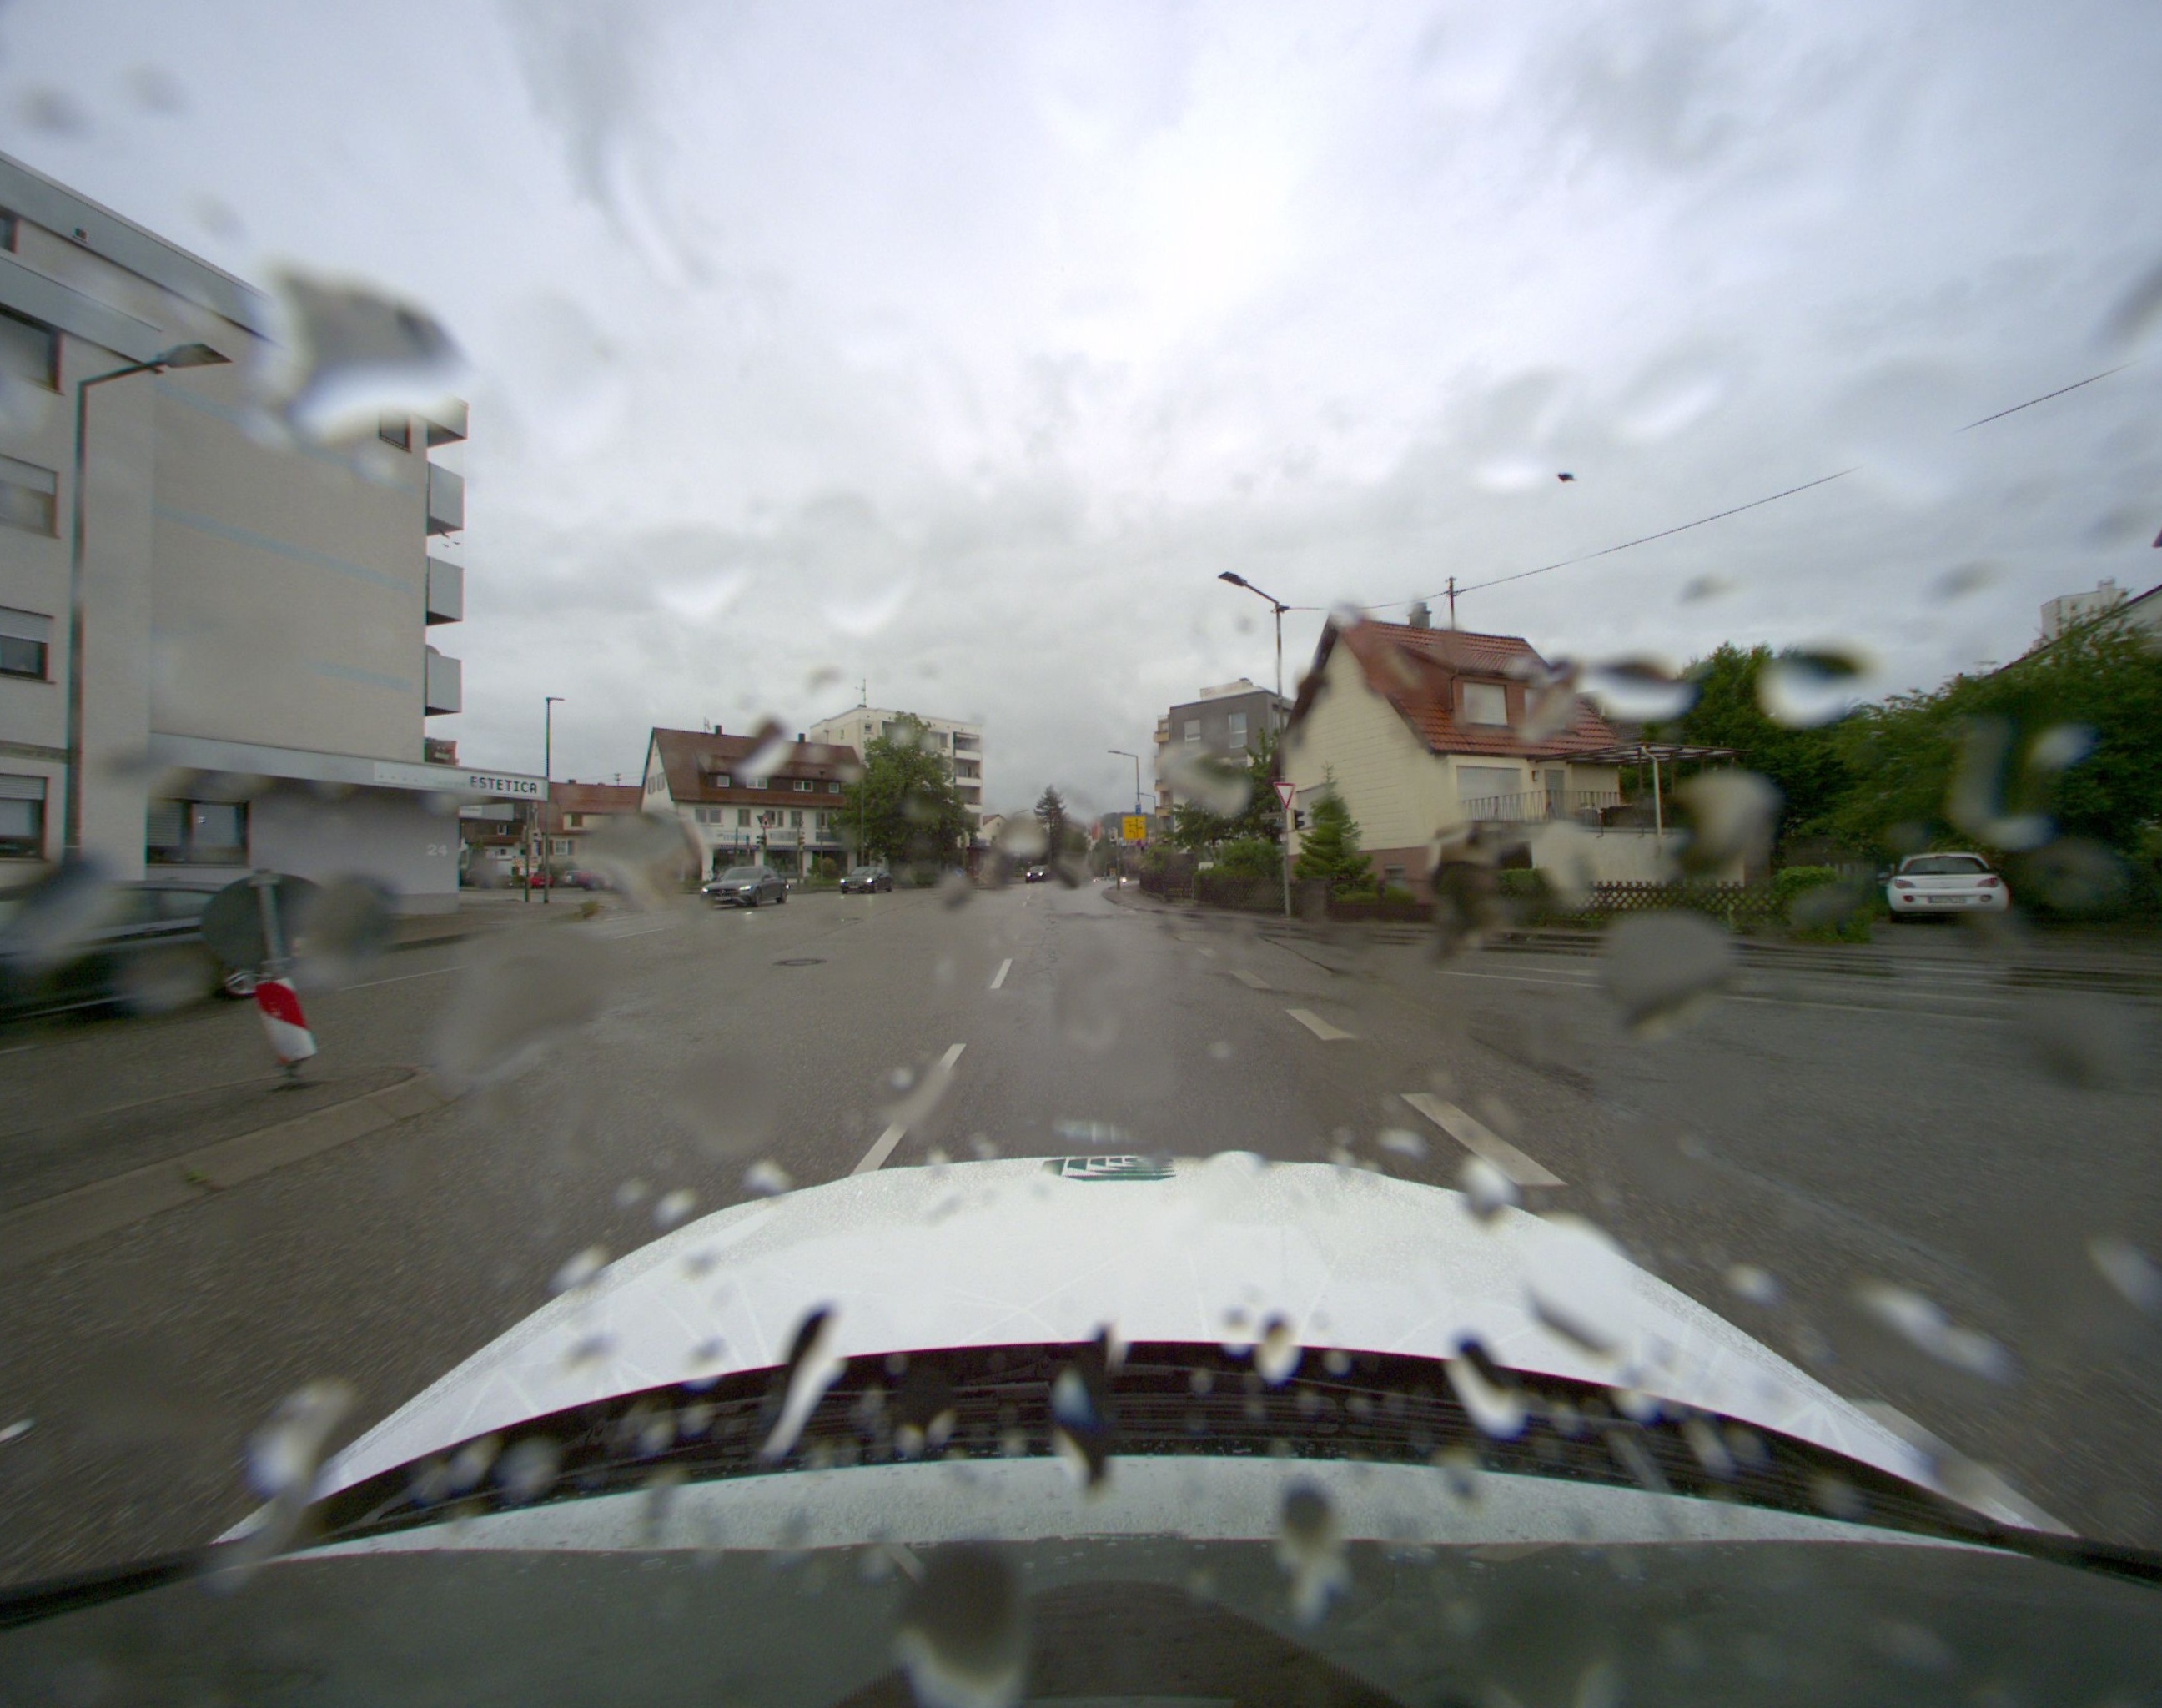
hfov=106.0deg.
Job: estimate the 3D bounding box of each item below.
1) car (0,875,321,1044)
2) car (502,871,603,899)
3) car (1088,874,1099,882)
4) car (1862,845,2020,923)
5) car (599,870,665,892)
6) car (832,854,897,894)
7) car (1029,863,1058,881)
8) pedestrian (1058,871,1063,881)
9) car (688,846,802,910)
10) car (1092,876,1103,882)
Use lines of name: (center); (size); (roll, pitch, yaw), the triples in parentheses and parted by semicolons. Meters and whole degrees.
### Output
car: (-10.563, 0.995, 8.218); (1.781, 1.472, 4.165); (-1, -1, 2)
car: (-38.234, 2.218, 59.007); (5.885, 1.842, 1.975); (0, -1, -44)
car: (2.702, 5.231, 176.706); (1.642, 1.521, 4.334); (-1, -2, 9)
car: (18.642, 0.597, 17.843); (1.827, 1.496, 3.766); (-2, -1, 39)
car: (-33.164, 1.945, 60.151); (4.018, 1.526, 1.977); (0, -1, -37)
car: (-11.559, 1.039, 43.860); (1.985, 2.014, 4.656); (-1, -1, 4)
car: (-3.506, 1.655, 76.270); (1.791, 1.557, 4.330); (-1, -1, 10)
pedestrian: (-3.466, 3.668, 136.259); (0.866, 1.607, 1.103); (-1, -3, -1)
car: (-12.175, 0.830, 30.052); (2.087, 2.013, 5.968); (-3, 0, -5)
car: (3.874, 5.813, 188.669); (1.923, 1.542, 4.531); (-1, -2, 9)
